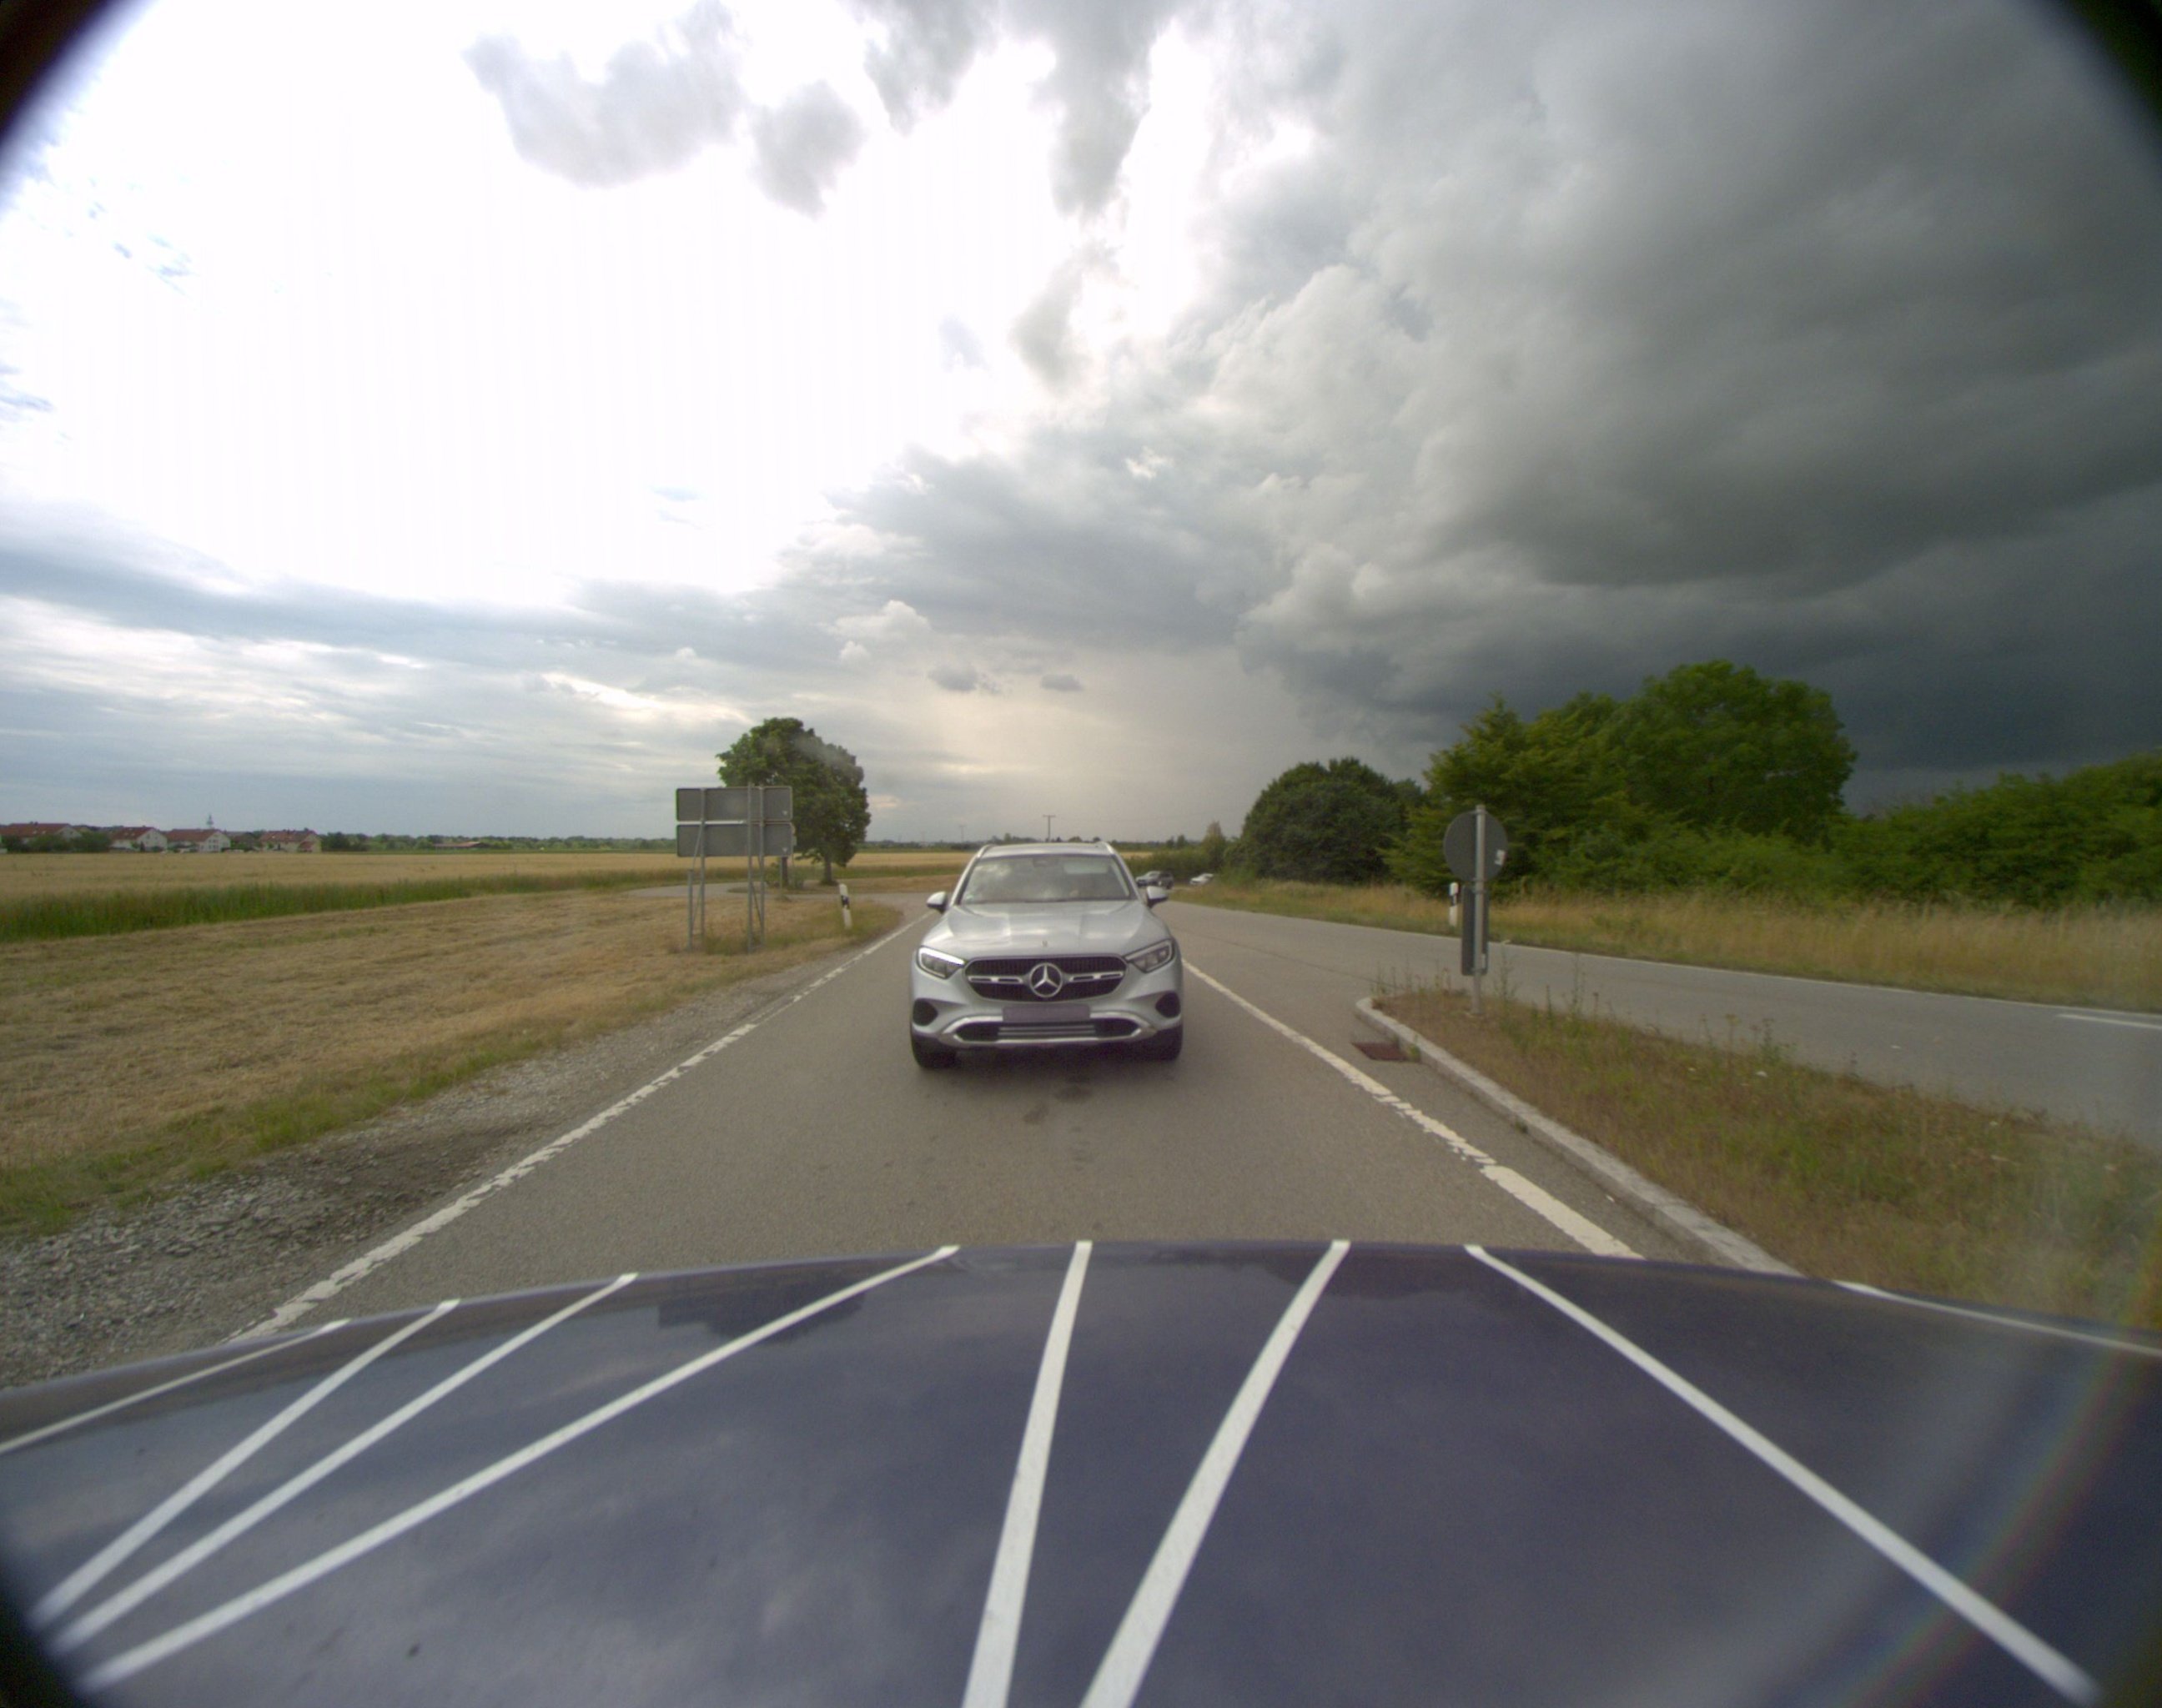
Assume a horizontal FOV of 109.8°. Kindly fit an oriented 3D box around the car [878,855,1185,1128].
[{"bbox_3d":[-0.413,0.825,6.787,1.837,1.577,4.448,0,1,-3],"label":"car"}]

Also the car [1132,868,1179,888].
[{"bbox_3d":[7.351,2.348,74.206,1.994,1.710,5.220,3,2,38],"label":"car"}]

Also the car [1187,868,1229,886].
[{"bbox_3d":[13.663,2.436,81.819,1.993,1.710,5.220,3,2,40],"label":"car"}]

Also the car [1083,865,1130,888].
[{"bbox_3d":[2.230,1.916,63.932,1.994,1.709,5.219,3,0,25],"label":"car"}]
